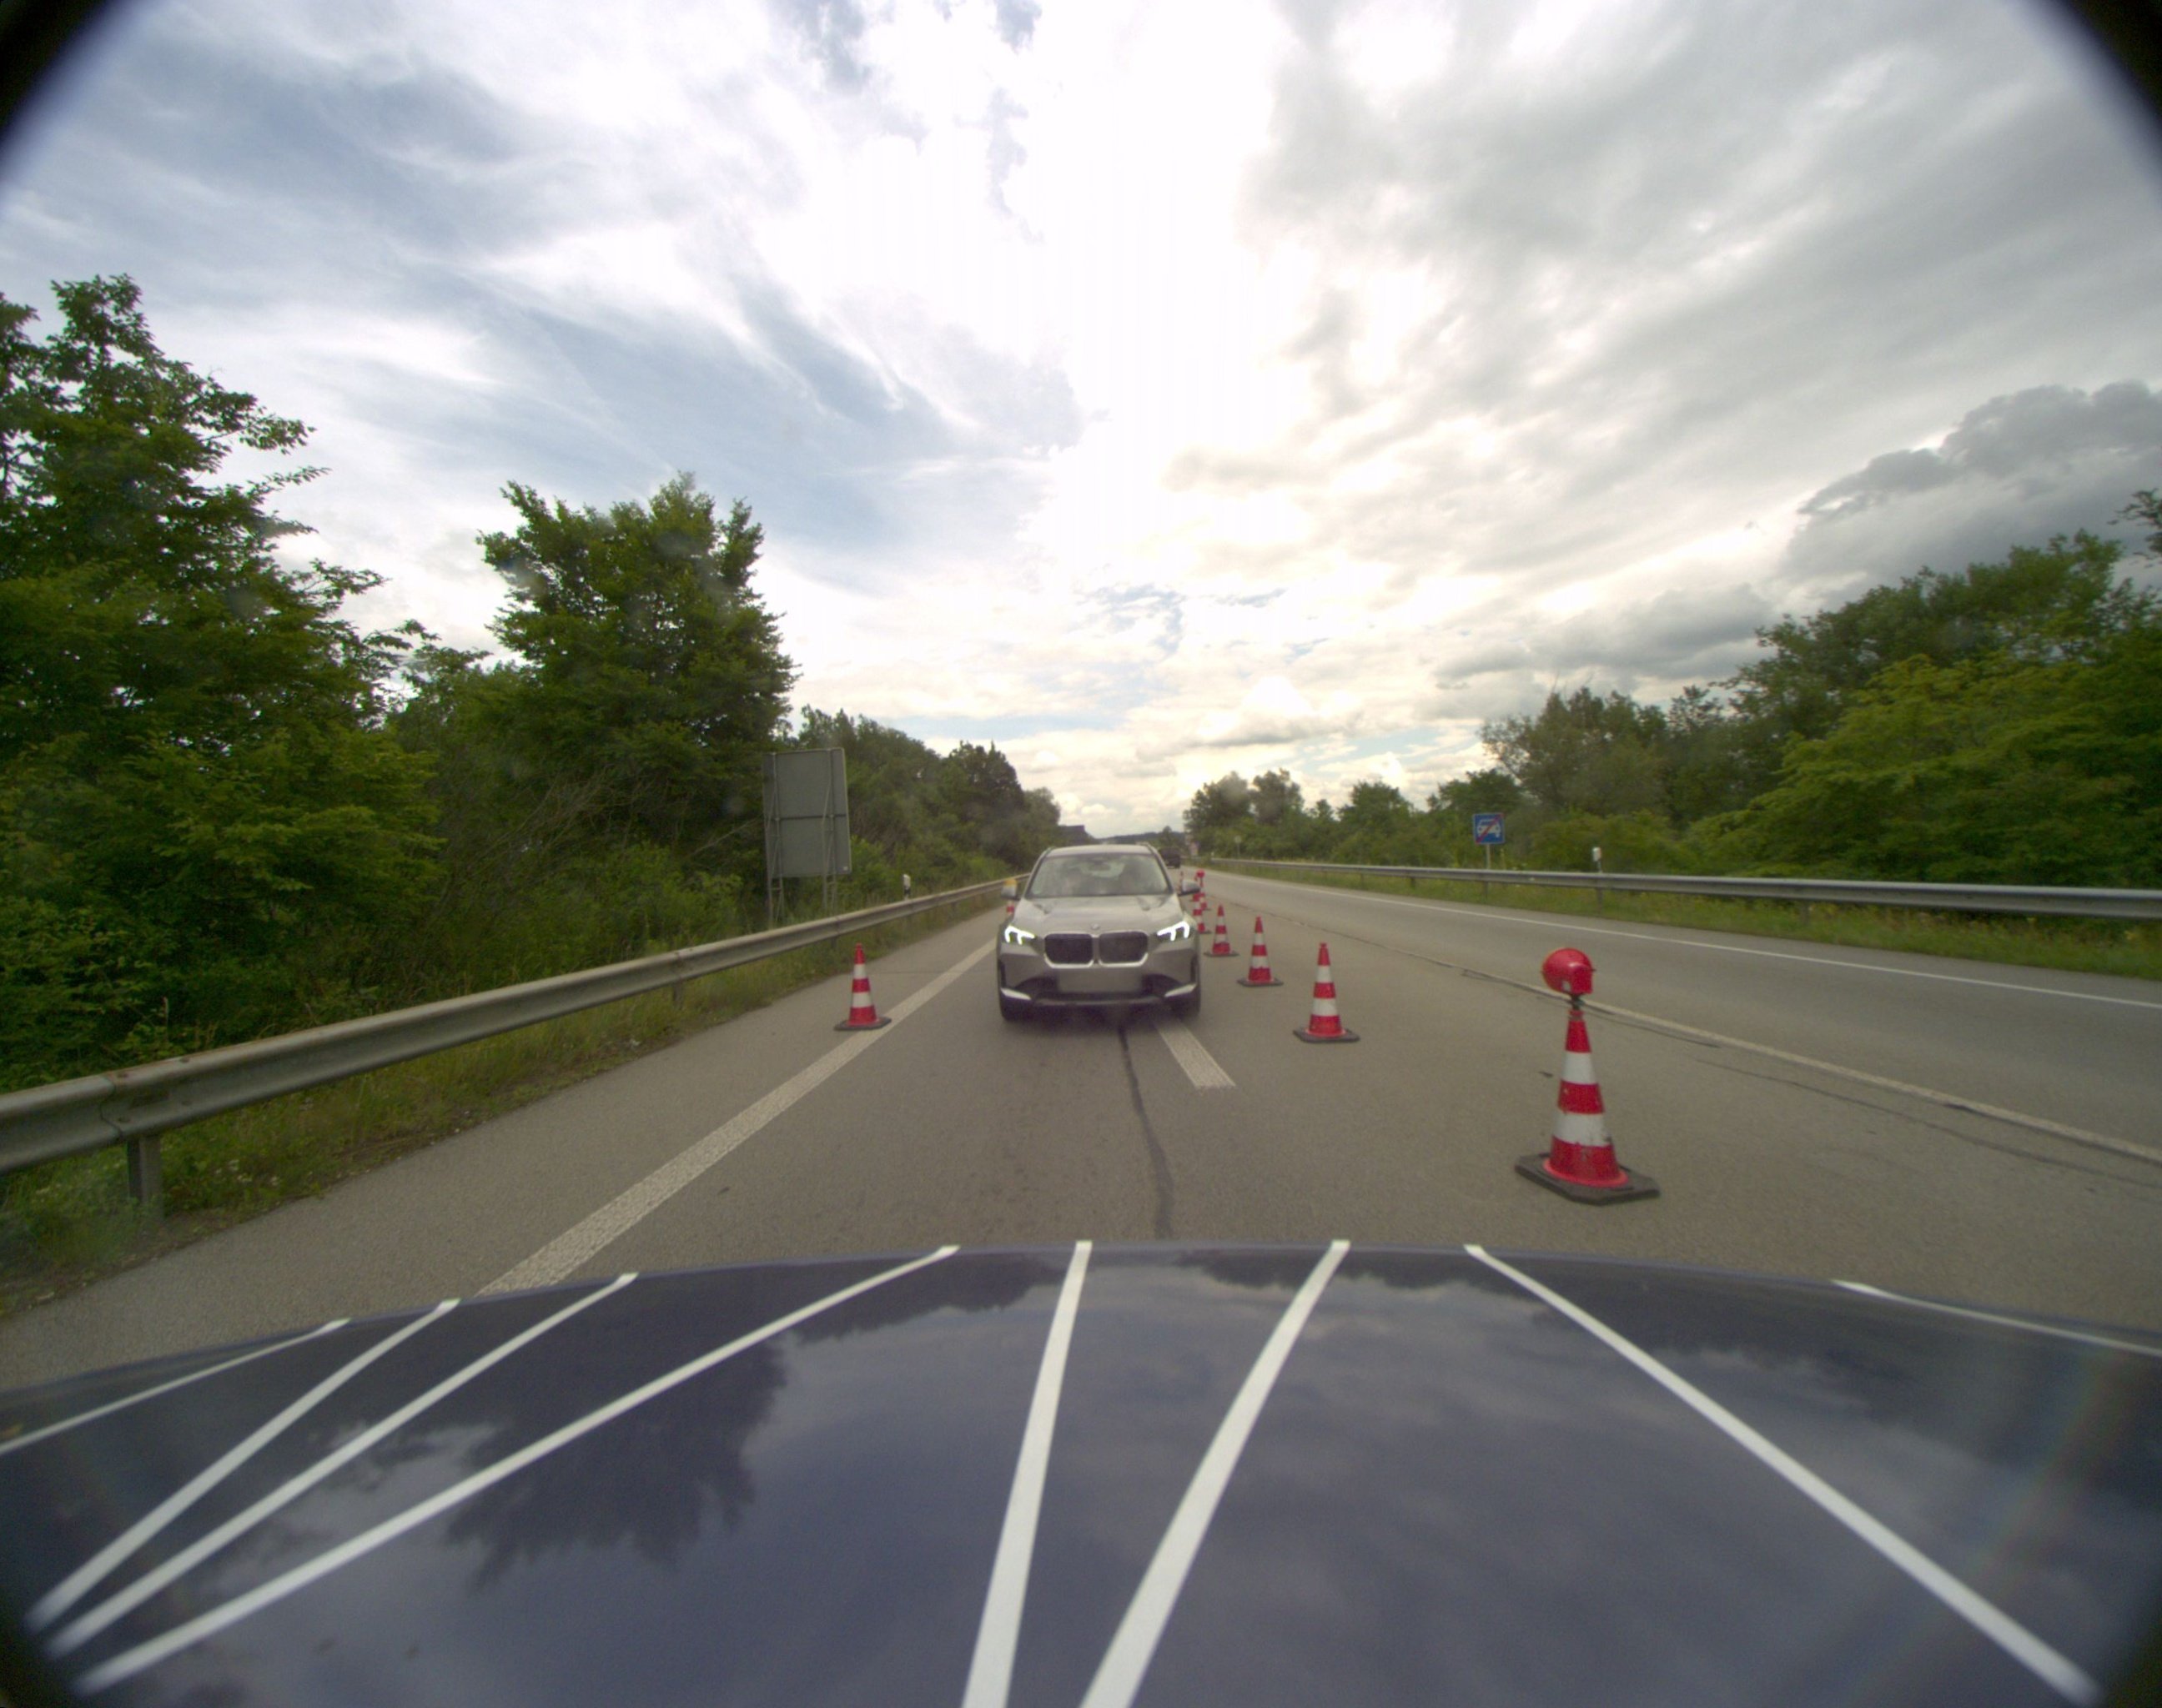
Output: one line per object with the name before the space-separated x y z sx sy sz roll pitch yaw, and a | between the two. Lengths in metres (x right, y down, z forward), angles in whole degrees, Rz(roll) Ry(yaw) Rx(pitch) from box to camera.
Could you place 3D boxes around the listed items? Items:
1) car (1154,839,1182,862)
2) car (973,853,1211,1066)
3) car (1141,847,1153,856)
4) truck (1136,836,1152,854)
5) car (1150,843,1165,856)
car | 7.821 -0.336 68.653 2.034 1.976 5.316 -2 0 3
car | 0.203 0.834 8.186 1.817 1.598 4.434 -2 0 3
car | 12.156 -0.491 139.900 1.929 1.597 4.533 -2 0 3
truck | 13.840 -1.970 167.536 3.113 3.682 9.544 -2 0 2
car | 11.106 -0.648 110.390 1.929 1.820 4.533 -2 0 3
